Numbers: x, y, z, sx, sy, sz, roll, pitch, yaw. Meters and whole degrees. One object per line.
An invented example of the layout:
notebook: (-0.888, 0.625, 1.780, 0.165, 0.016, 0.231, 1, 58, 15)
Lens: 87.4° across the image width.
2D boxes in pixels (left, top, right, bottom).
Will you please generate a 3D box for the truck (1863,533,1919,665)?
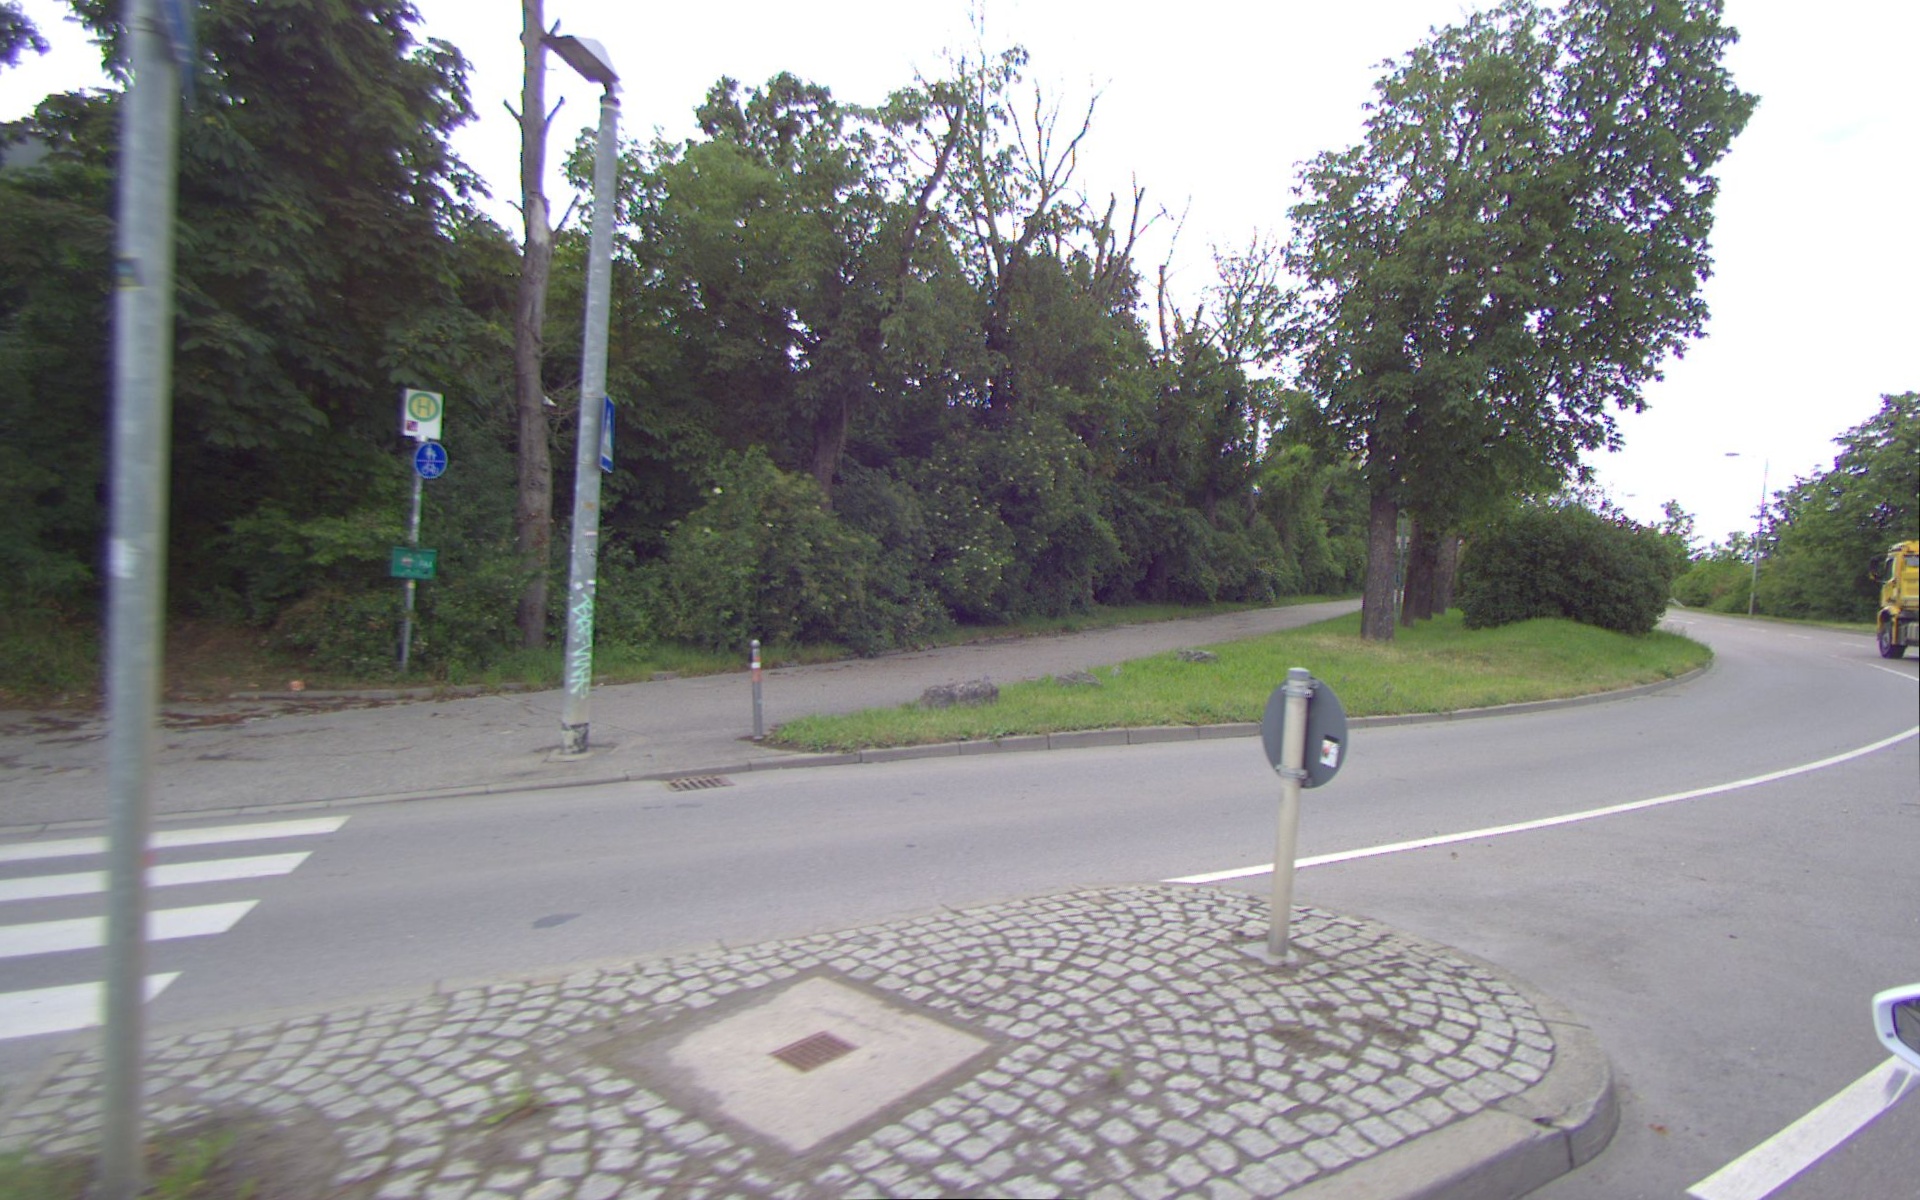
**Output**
truck: (27.422, -0.013, 27.165, 2.724, 3.531, 8.112, 2, 2, 30)
